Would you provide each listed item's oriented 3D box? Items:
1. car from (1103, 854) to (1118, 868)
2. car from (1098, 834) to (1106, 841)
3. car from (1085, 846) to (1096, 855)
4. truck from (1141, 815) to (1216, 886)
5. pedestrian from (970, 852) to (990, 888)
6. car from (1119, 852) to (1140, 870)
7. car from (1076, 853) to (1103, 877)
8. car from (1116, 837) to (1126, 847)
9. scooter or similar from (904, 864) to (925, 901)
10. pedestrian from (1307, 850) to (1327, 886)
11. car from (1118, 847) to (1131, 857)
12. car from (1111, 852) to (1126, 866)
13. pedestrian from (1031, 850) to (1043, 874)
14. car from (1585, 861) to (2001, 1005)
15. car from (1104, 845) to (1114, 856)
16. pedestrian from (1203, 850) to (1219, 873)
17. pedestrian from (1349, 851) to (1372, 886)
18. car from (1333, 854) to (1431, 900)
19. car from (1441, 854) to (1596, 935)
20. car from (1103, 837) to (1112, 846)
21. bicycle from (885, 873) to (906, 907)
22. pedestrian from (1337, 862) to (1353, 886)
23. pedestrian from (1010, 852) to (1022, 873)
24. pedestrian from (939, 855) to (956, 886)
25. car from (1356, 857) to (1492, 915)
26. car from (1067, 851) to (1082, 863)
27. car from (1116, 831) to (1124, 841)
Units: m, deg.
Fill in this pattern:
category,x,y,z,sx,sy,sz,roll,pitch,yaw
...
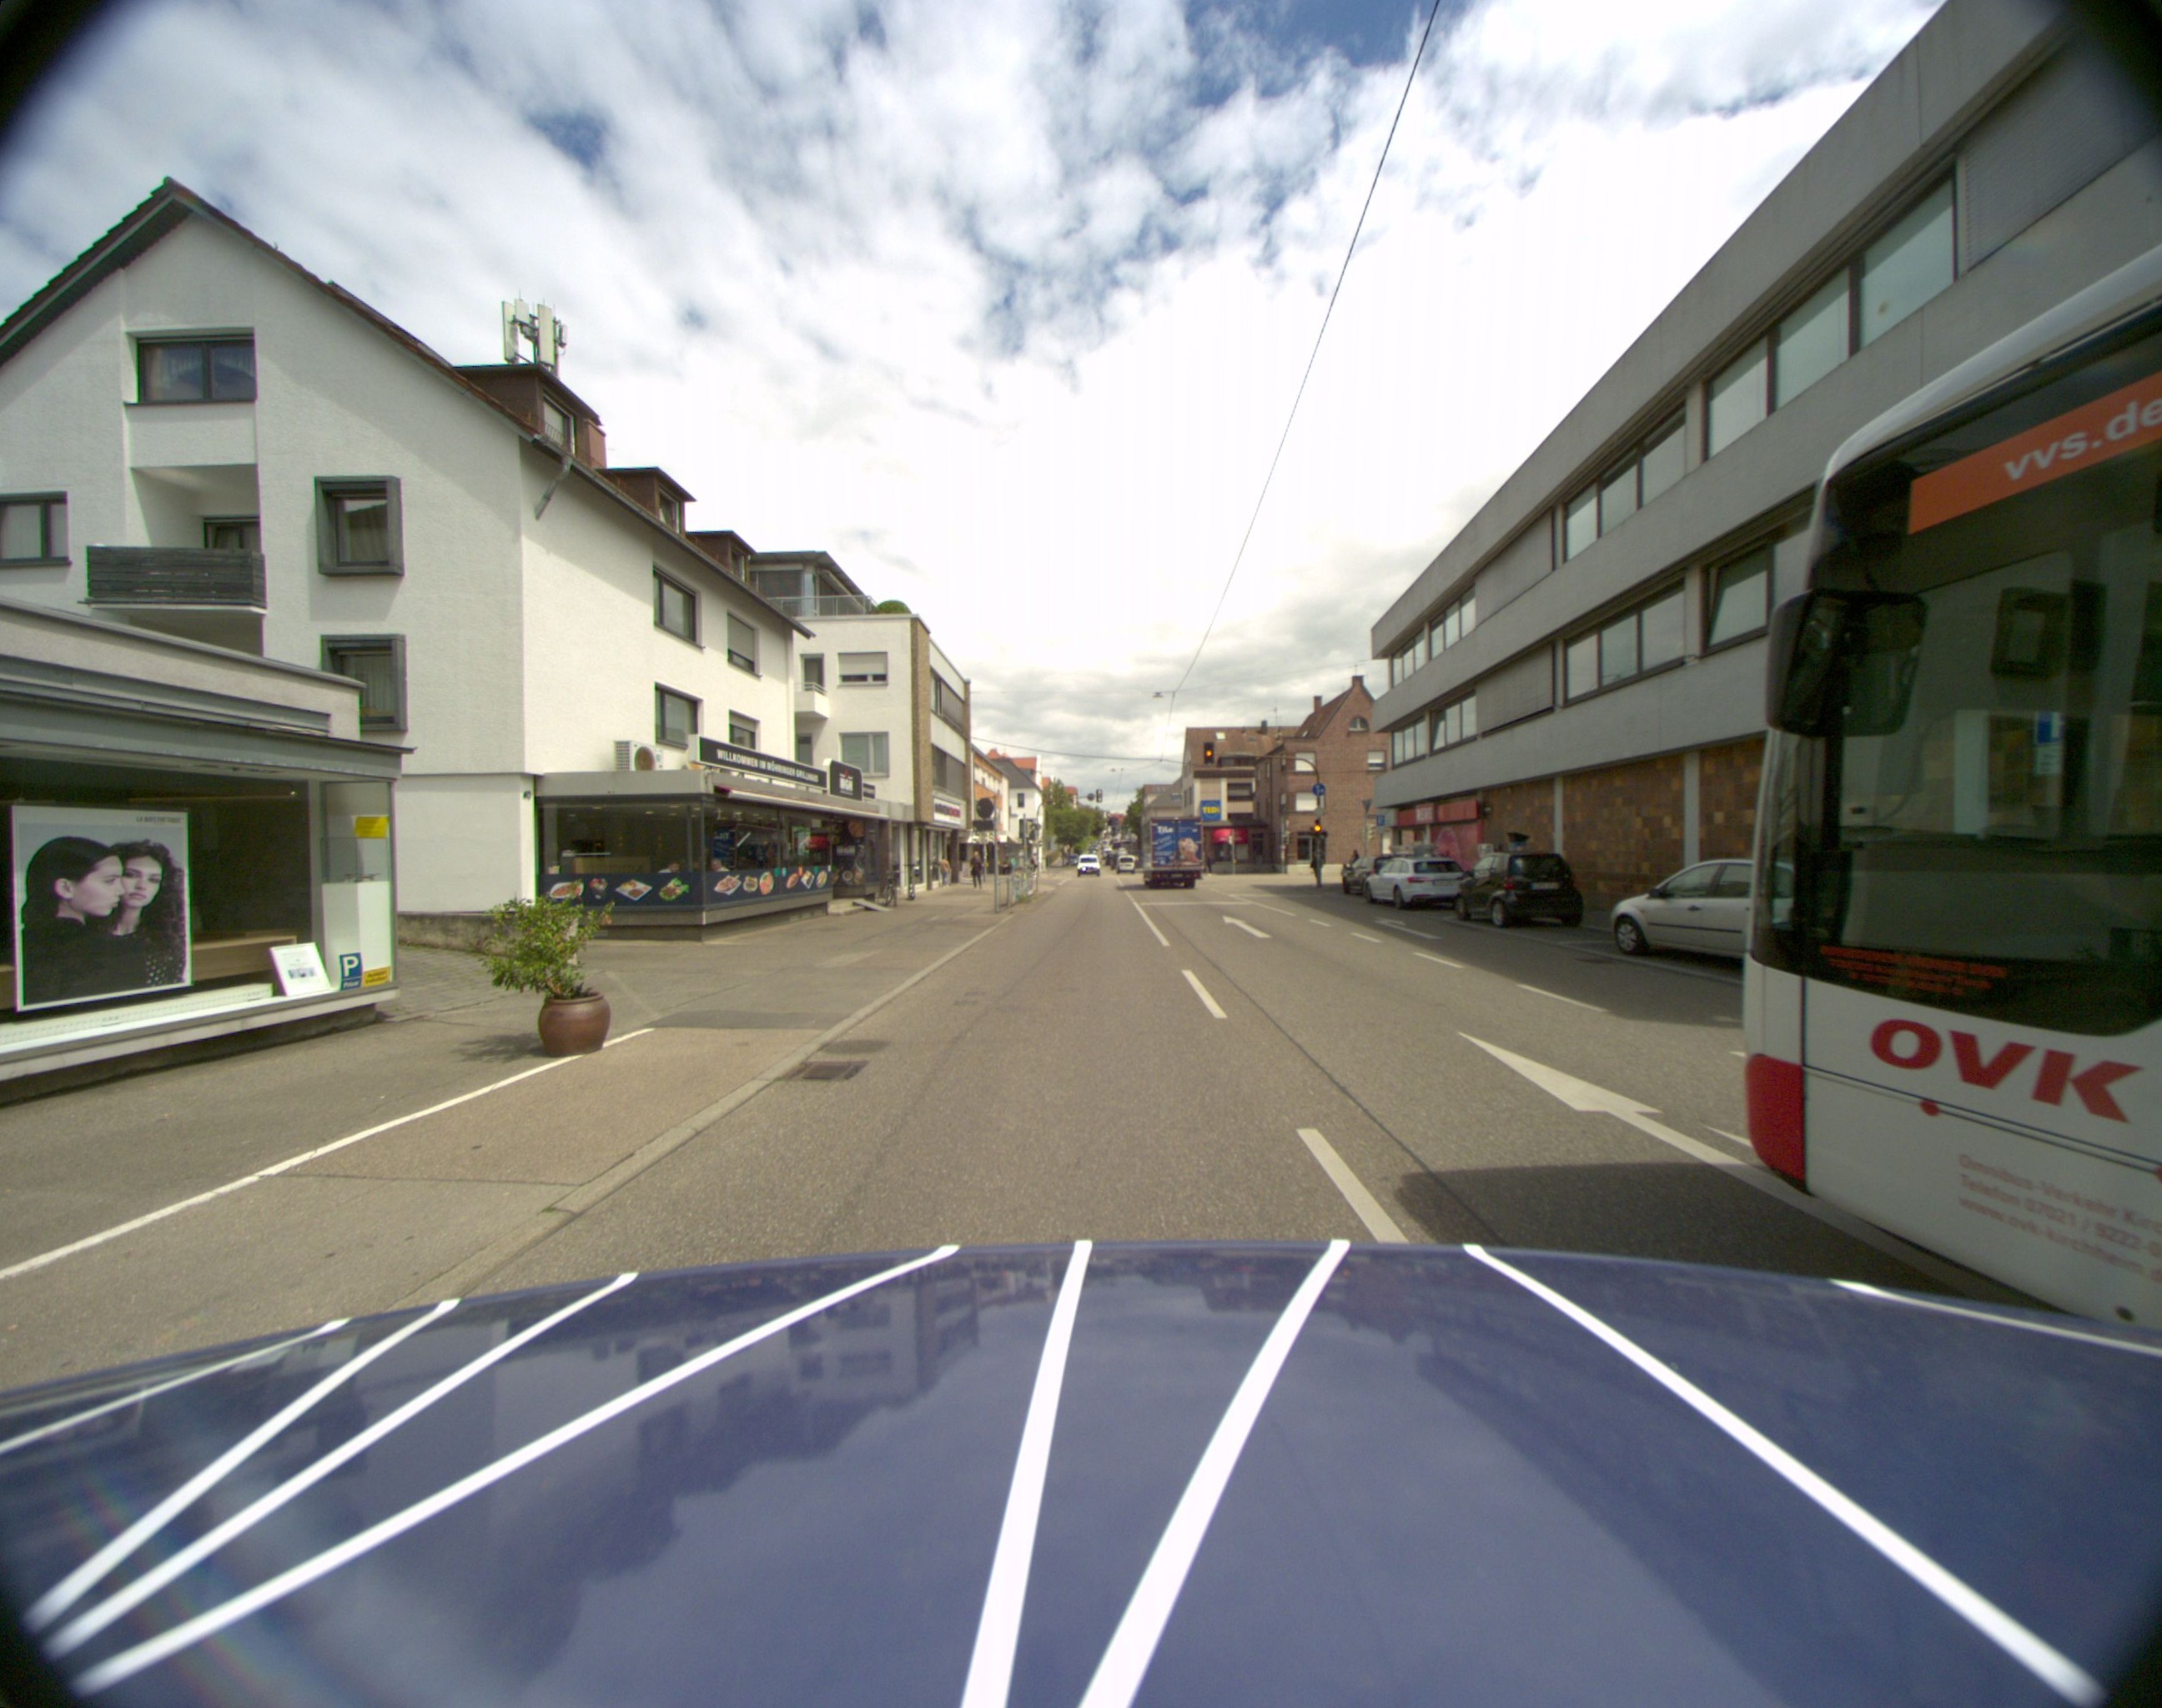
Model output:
category,x,y,z,sx,sy,sz,roll,pitch,yaw
car,4.358,1.039,112.514,1.953,1.866,4.876,0,1,1
car,5.671,-4.466,209.015,2.149,1.747,3.973,0,0,2
car,1.851,-0.606,143.932,1.998,1.654,4.000,0,0,2
truck,4.565,-0.166,37.181,2.860,3.075,8.089,0,0,1
pedestrian,-4.656,0.727,35.166,0.797,1.661,0.807,0,1,1
car,4.973,0.664,78.271,1.950,1.810,4.278,0,0,2
car,0.663,0.866,62.359,1.999,1.797,4.765,-2,0,0
car,9.032,-2.758,171.659,2.110,2.109,4.765,-1,0,1
scooter or similar,-5.958,0.996,27.214,0.690,1.260,1.184,0,1,-11
pedestrian,10.838,0.638,34.932,0.719,1.635,0.682,-2,0,7
car,7.978,-0.328,140.153,2.110,1.778,4.529,-1,0,1
car,4.650,0.615,95.078,1.681,1.626,2.833,0,0,0
pedestrian,-3.337,0.598,57.891,0.581,1.820,0.882,1,1,18
car,8.824,0.852,10.030,1.726,1.413,4.149,-2,0,3
car,4.900,-0.590,132.375,1.819,1.919,4.113,0,0,2
pedestrian,9.992,0.557,58.296,0.908,1.713,0.849,-1,1,-40
pedestrian,12.787,0.651,34.783,0.820,1.545,0.846,-2,0,7
car,10.761,0.781,27.519,2.049,1.467,4.286,-2,0,3
car,9.262,0.792,16.358,1.740,1.547,3.057,-2,0,5
car,6.044,-2.885,173.321,1.982,1.985,5.028,0,0,0
bicycle,-5.972,1.130,24.498,0.476,1.022,1.635,0,0,-7
pedestrian,12.160,0.924,34.980,0.560,1.051,0.663,-2,0,8
pedestrian,-4.922,0.636,57.314,0.779,1.517,0.819,0,1,4
pedestrian,-6.380,0.785,36.416,0.681,1.490,0.720,0,1,1
car,9.756,0.843,22.111,2.048,1.436,4.954,-2,0,5
car,-0.897,0.398,110.990,1.998,1.654,4.000,0,0,2
car,13.162,-6.060,255.707,2.428,3.409,7.637,0,0,0
